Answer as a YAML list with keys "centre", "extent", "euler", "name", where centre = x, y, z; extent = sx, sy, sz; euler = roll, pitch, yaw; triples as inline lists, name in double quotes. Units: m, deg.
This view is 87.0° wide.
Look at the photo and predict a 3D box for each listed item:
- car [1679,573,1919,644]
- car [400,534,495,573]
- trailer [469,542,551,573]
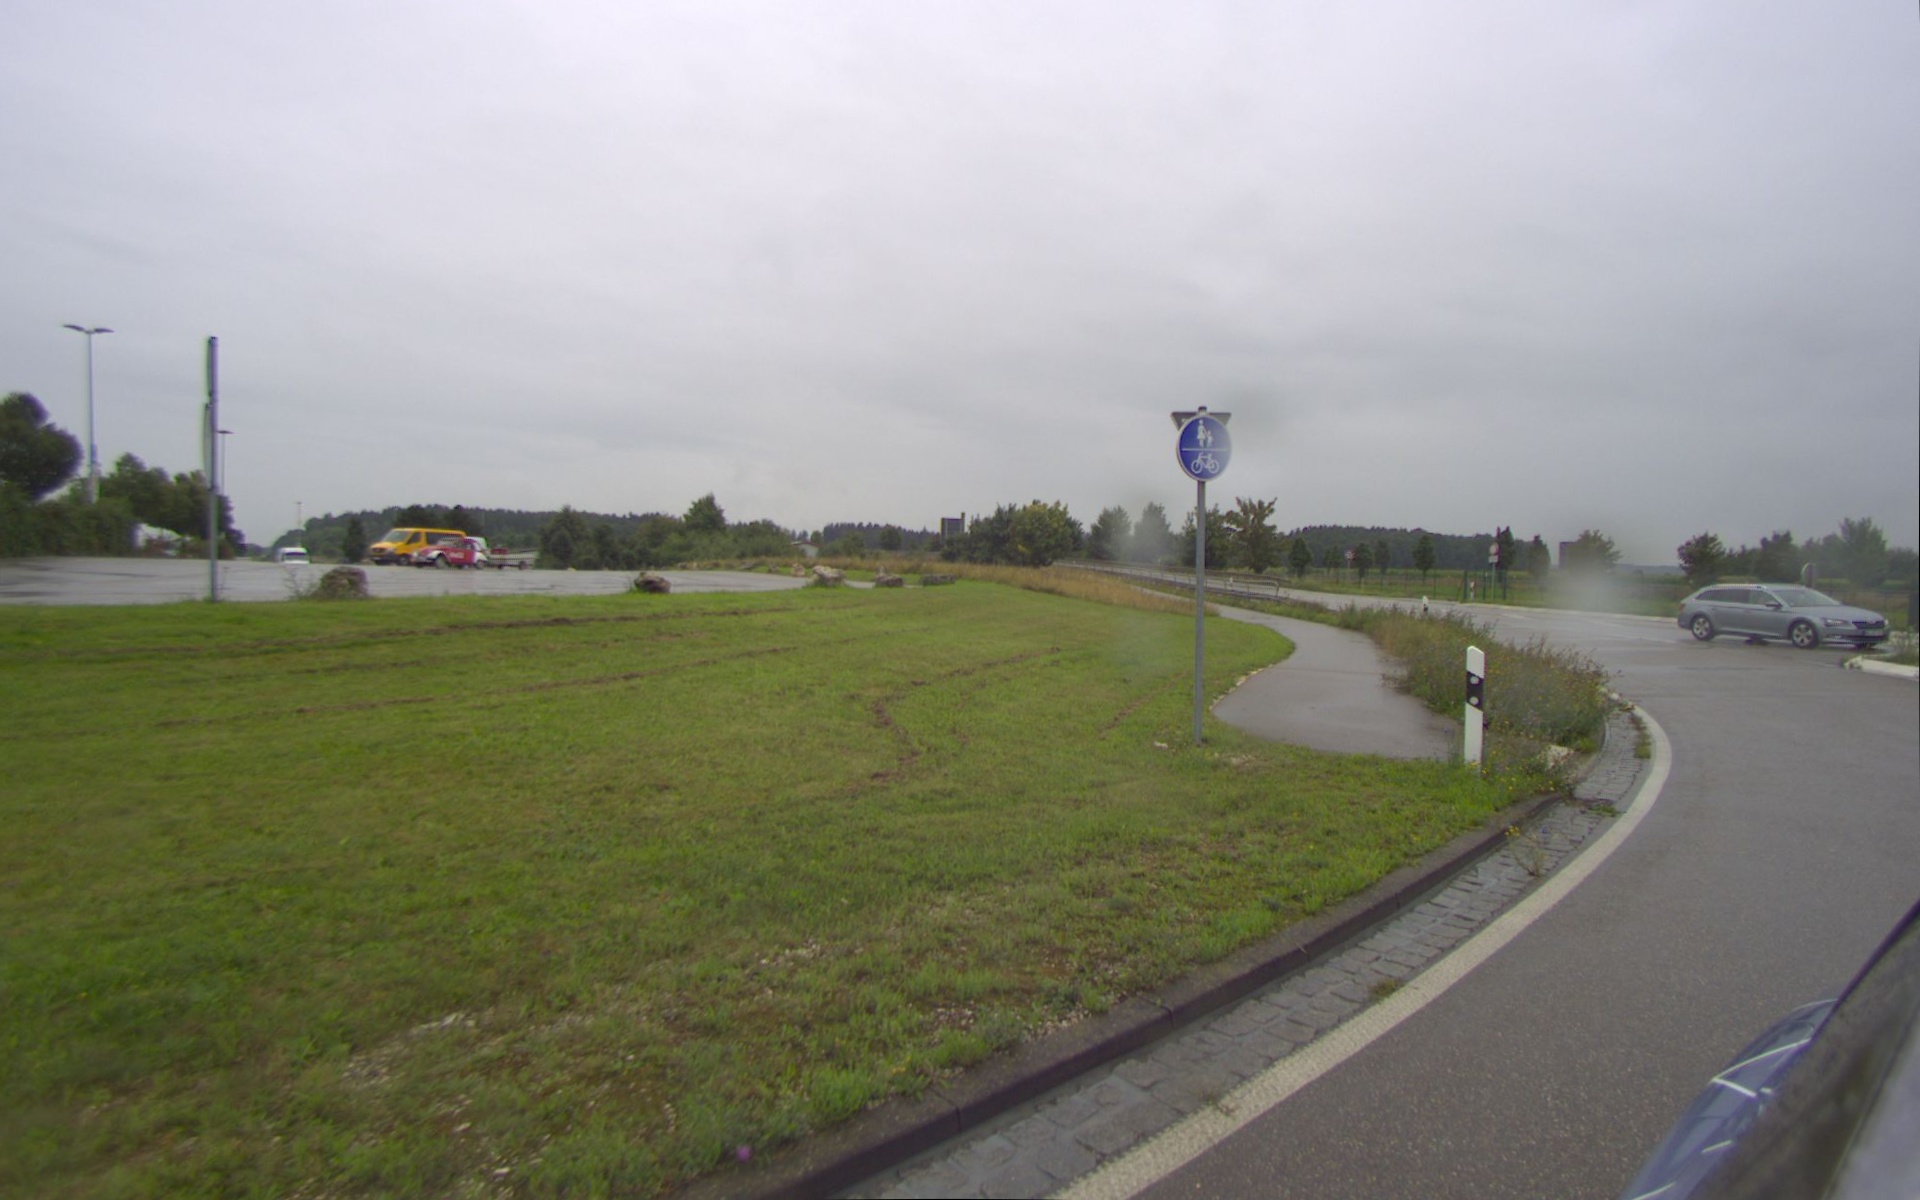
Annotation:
- centre: [20.595, 0.134, 24.999]
  extent: [1.959, 1.499, 4.670]
  euler: [-1, 2, -7]
  name: "car"
- centre: [-24.630, -2.213, 48.822]
  extent: [1.805, 1.799, 3.975]
  euler: [1, 1, 19]
  name: "car"
- centre: [-23.322, -2.195, 52.606]
  extent: [1.679, 1.551, 3.976]
  euler: [1, 2, 19]
  name: "trailer"
